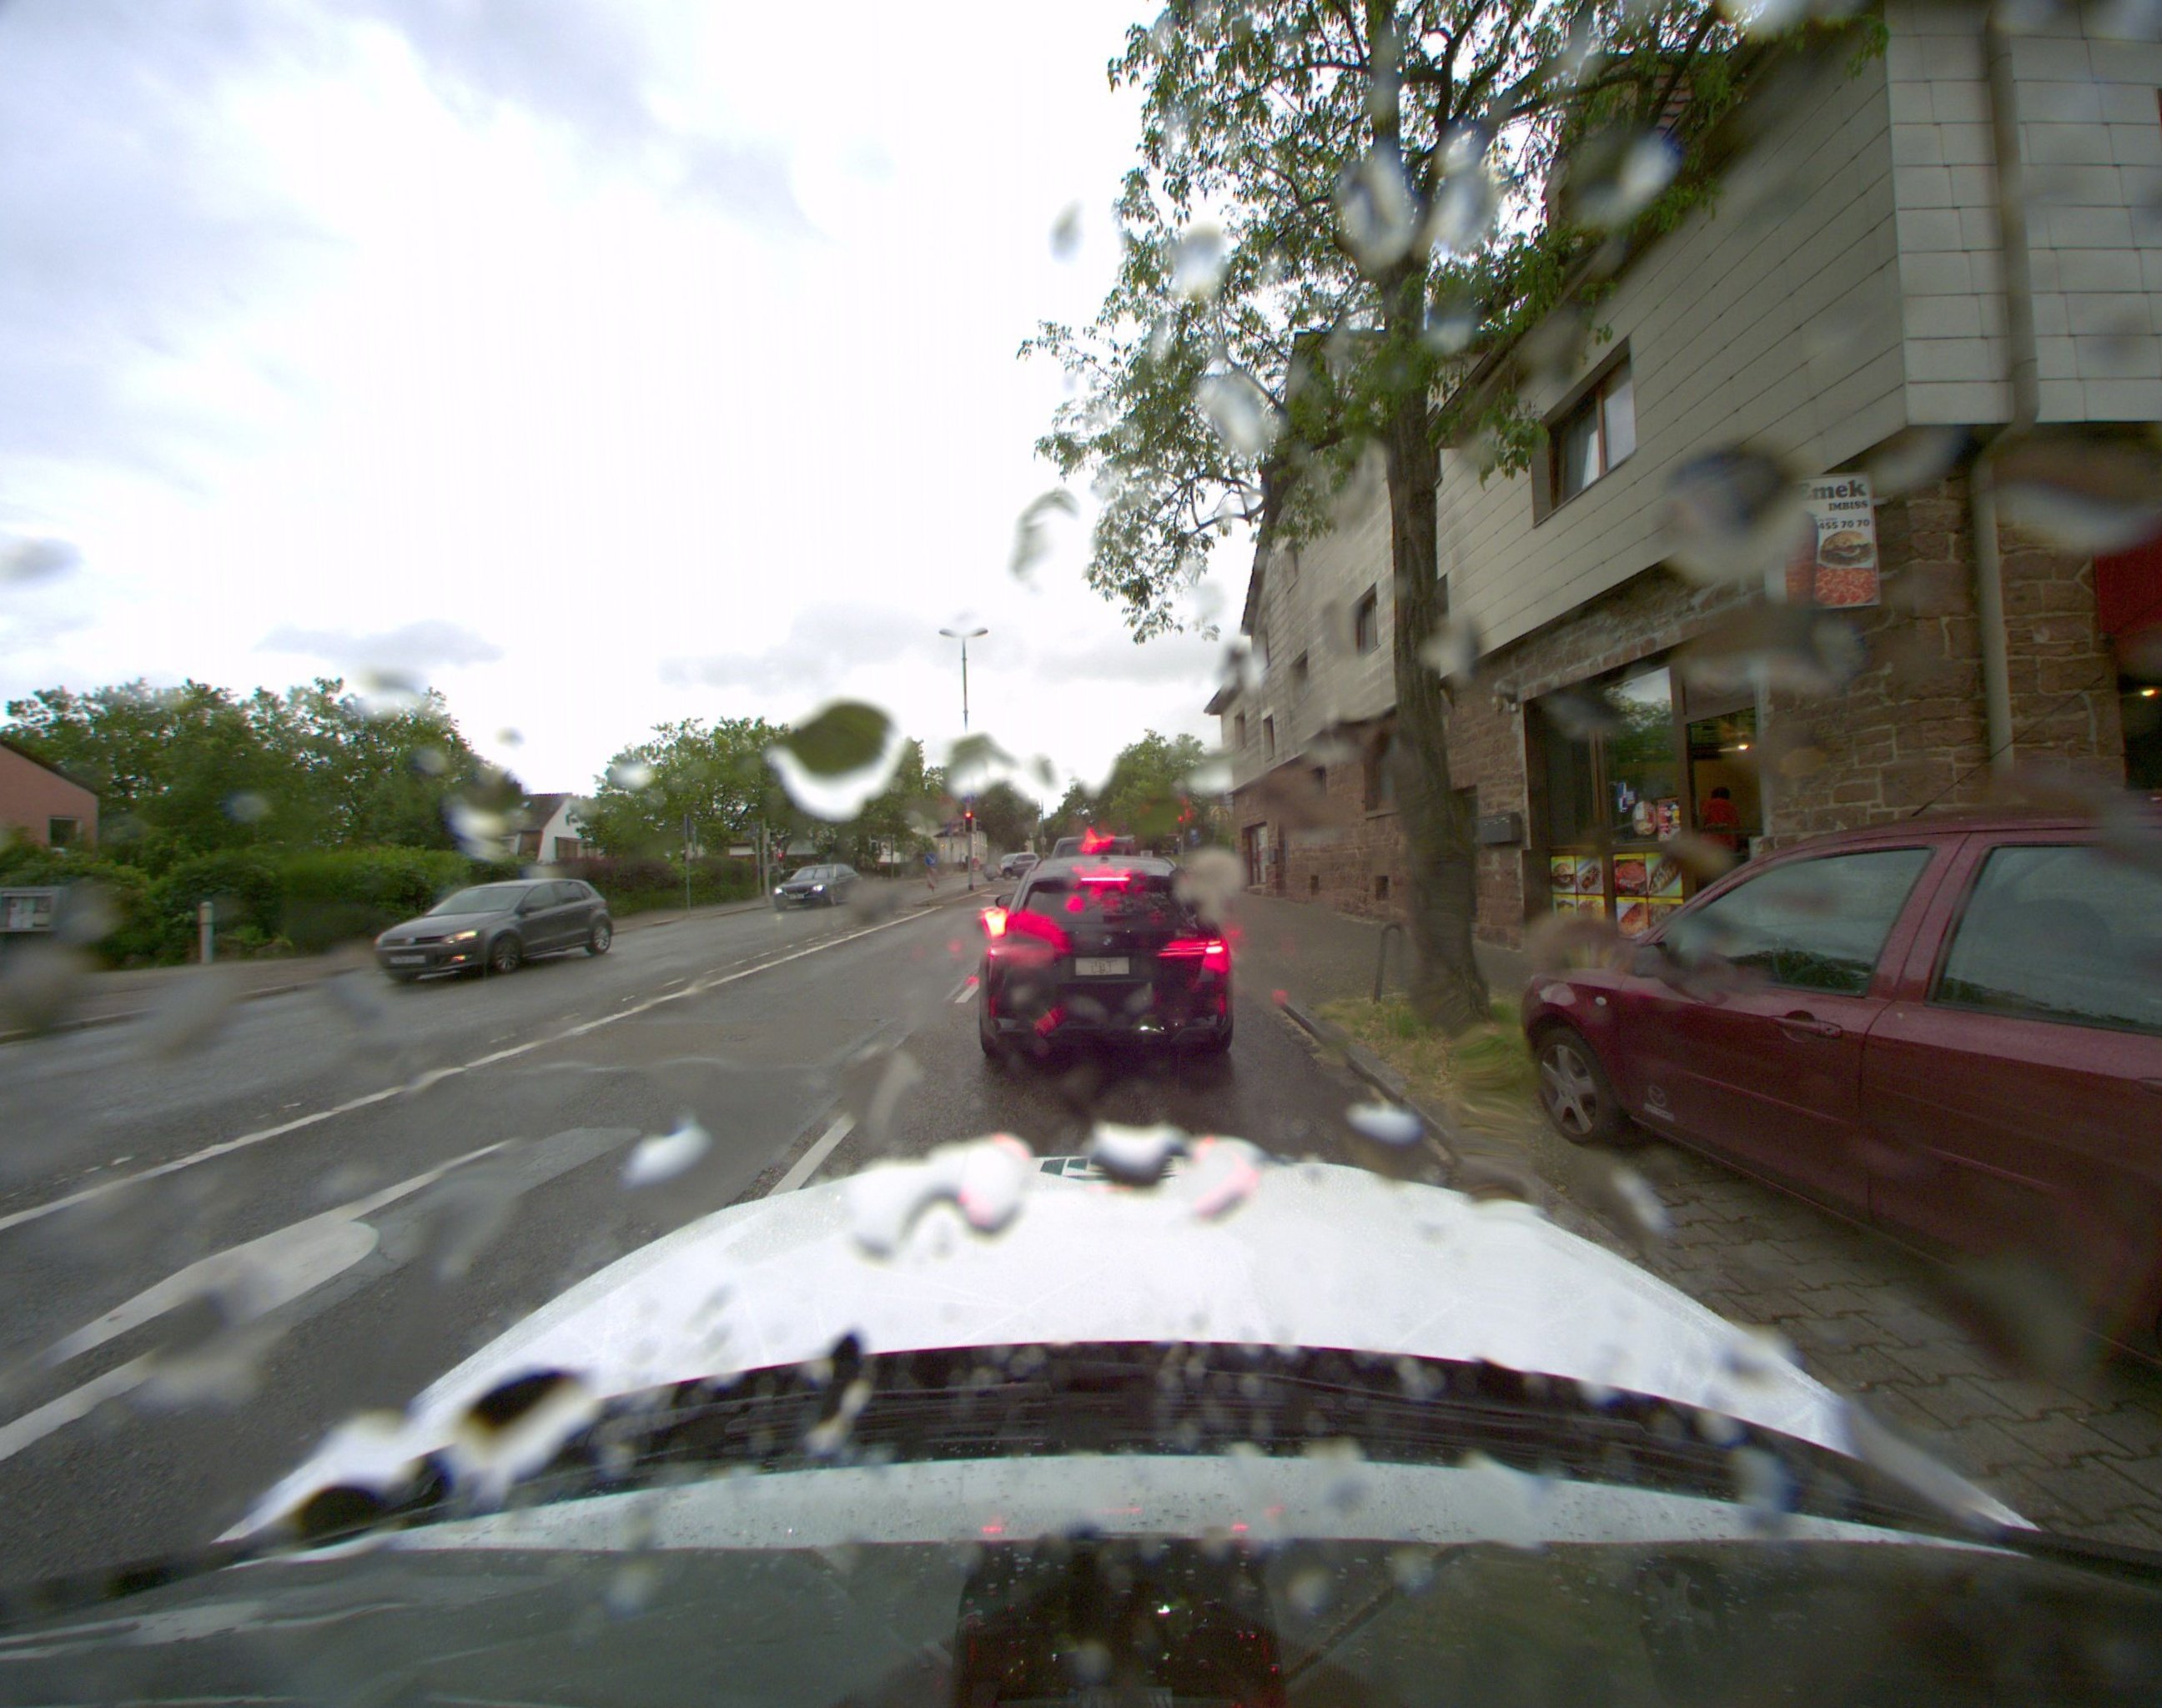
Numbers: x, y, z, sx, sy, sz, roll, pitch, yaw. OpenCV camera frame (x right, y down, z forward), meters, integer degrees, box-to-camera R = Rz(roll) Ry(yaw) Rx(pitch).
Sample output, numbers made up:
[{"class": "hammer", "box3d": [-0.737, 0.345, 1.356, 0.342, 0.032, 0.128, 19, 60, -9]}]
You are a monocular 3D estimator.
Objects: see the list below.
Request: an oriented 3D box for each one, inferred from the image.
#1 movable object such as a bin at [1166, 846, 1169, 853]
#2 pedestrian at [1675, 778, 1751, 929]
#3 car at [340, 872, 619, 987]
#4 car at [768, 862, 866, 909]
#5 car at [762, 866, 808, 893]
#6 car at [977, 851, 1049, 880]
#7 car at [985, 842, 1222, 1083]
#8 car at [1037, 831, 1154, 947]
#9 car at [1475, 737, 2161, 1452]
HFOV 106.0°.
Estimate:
[{"class": "movable object such as a bin", "box3d": [12.247, -0.615, 115.212, 0.446, 0.906, 0.465, -1, -1, 17]}, {"class": "pedestrian", "box3d": [7.129, -0.009, 9.204, 0.490, 1.660, 0.455, 0, -1, 1]}, {"class": "car", "box3d": [-9.473, 1.088, 13.285, 1.589, 1.428, 3.904, -3, 0, 0]}, {"class": "car", "box3d": [-9.237, 1.035, 28.986, 1.905, 1.454, 4.946, -2, 0, -1]}, {"class": "car", "box3d": [-20.974, 1.770, 57.864, 1.803, 1.551, 4.001, 0, 3, 0]}, {"class": "car", "box3d": [-4.282, 0.715, 51.696, 1.890, 1.590, 4.344, -3, 0, 43]}, {"class": "car", "box3d": [0.119, 0.709, 7.017, 1.519, 1.534, 3.530, 0, -1, -1]}, {"class": "car", "box3d": [0.196, 0.562, 14.624, 1.807, 1.809, 3.754, 0, -1, -1]}, {"class": "car", "box3d": [3.060, 0.536, 2.711, 1.606, 1.504, 3.754, 0, -2, -1]}]
